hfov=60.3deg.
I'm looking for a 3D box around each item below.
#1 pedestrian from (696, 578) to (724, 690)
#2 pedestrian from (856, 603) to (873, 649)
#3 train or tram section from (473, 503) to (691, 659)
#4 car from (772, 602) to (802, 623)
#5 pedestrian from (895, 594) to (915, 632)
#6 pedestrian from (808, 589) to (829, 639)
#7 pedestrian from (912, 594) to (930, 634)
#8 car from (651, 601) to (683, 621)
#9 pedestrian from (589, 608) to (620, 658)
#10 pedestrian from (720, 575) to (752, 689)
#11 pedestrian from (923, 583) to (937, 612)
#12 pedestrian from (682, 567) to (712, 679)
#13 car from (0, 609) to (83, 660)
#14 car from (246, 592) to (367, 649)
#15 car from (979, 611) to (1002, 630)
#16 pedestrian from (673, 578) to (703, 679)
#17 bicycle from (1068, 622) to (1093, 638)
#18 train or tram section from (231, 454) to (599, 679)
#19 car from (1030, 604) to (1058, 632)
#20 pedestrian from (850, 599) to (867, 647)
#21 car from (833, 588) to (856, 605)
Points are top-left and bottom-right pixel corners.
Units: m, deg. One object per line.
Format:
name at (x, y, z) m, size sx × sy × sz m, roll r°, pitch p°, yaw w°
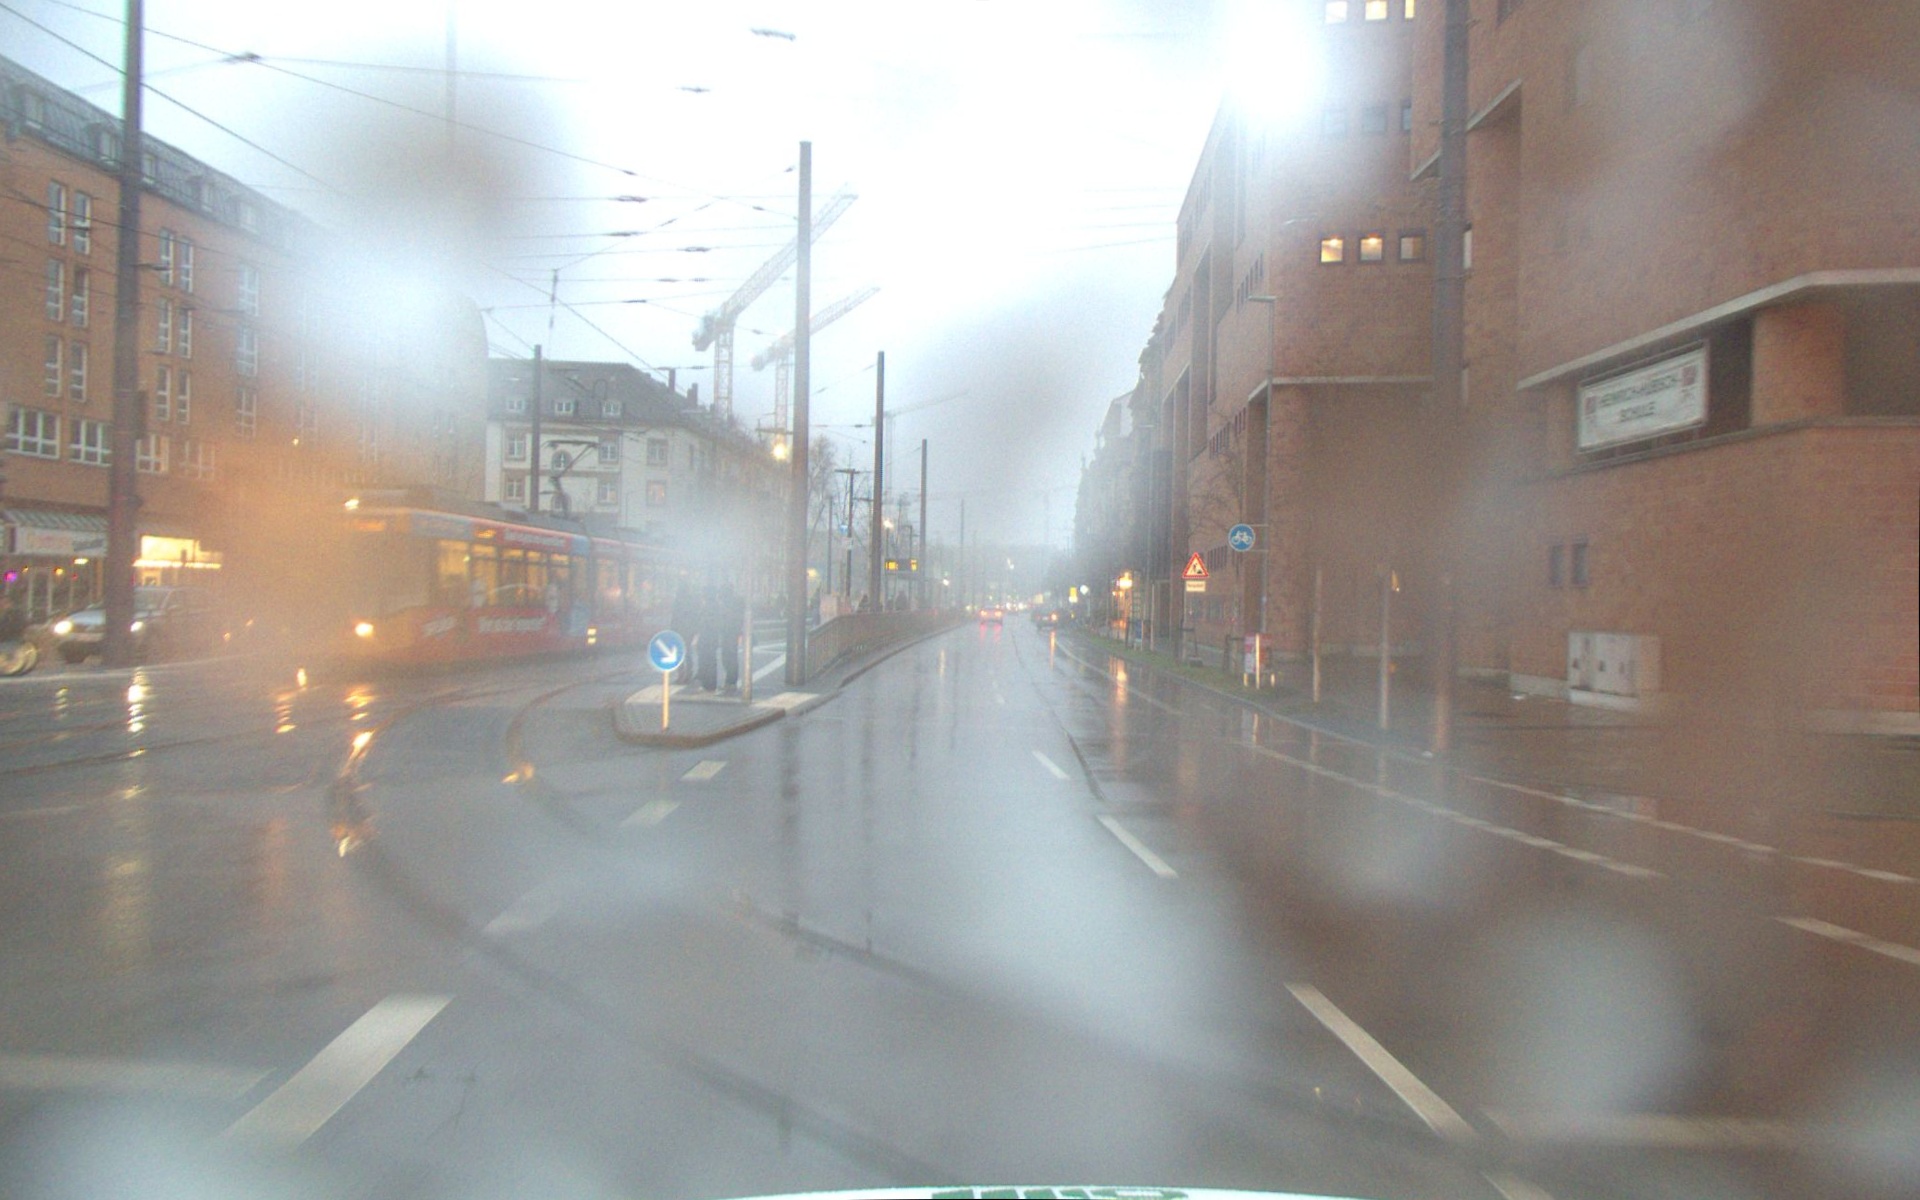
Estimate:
pedestrian at (-4.106, 0.558, 27.160) m, size 0.352 × 1.818 × 0.440 m, roll 2°, pitch -1°, yaw -3°
pedestrian at (-3.375, 0.923, 58.456) m, size 0.529 × 1.618 × 0.563 m, roll 2°, pitch -1°, yaw -1°
train or tram section at (-10.105, -0.441, 45.765) m, size 2.864 × 3.640 × 11.038 m, roll 3°, pitch 0°, yaw 2°
car at (-12.348, 0.881, 118.263) m, size 1.647 × 1.378 × 3.546 m, roll 3°, pitch 0°, yaw 1°
pedestrian at (-2.582, 0.614, 77.623) m, size 0.763 × 1.733 × 0.770 m, roll 2°, pitch 0°, yaw -16°
pedestrian at (-4.658, 0.474, 54.472) m, size 0.605 × 1.618 × 0.622 m, roll 2°, pitch -1°, yaw -1°
pedestrian at (-1.978, 0.705, 84.400) m, size 0.793 × 1.981 × 0.805 m, roll 2°, pitch 0°, yaw 2°
car at (-21.666, 0.846, 122.349) m, size 1.647 × 1.378 × 3.546 m, roll 3°, pitch 0°, yaw 1°
pedestrian at (-8.621, 0.791, 40.078) m, size 0.568 × 1.172 × 0.490 m, roll 3°, pitch 0°, yaw 3°
pedestrian at (-3.747, 0.531, 27.686) m, size 0.404 × 1.878 × 0.669 m, roll 2°, pitch -1°, yaw -3°
pedestrian at (-1.638, -0.160, 90.008) m, size 0.667 × 1.542 × 0.617 m, roll 2°, pitch 0°, yaw -10°
pedestrian at (-4.764, 0.422, 29.958) m, size 0.424 × 2.002 × 0.473 m, roll 2°, pitch -1°, yaw -3°
car at (-29.637, 1.054, 52.188) m, size 1.578 × 1.517 × 4.229 m, roll 1°, pitch 0°, yaw 1°
car at (-17.068, 0.528, 43.370) m, size 1.647 × 1.378 × 3.546 m, roll 3°, pitch 0°, yaw 1°
car at (2.532, 1.660, 136.738) m, size 1.746 × 1.492 × 3.150 m, roll 1°, pitch 0°, yaw 4°
pedestrian at (-4.836, 0.506, 29.410) m, size 0.424 × 1.766 × 0.473 m, roll 2°, pitch -1°, yaw -3°
bicycle at (8.280, 2.029, 113.303) m, size 1.694 × 1.073 × 0.371 m, roll 0°, pitch 0°, yaw 1°
train or tram section at (-10.564, -0.538, 34.113) m, size 2.889 × 3.651 × 12.258 m, roll 3°, pitch 0°, yaw 2°
car at (6.338, 1.328, 124.129) m, size 1.952 × 2.049 × 4.002 m, roll 1°, pitch 0°, yaw 4°
pedestrian at (-3.696, 0.851, 60.481) m, size 0.529 × 1.722 × 0.643 m, roll 2°, pitch -1°, yaw -1°
car at (-9.874, -0.271, 141.370) m, size 1.647 × 1.378 × 3.546 m, roll 3°, pitch 0°, yaw 1°
